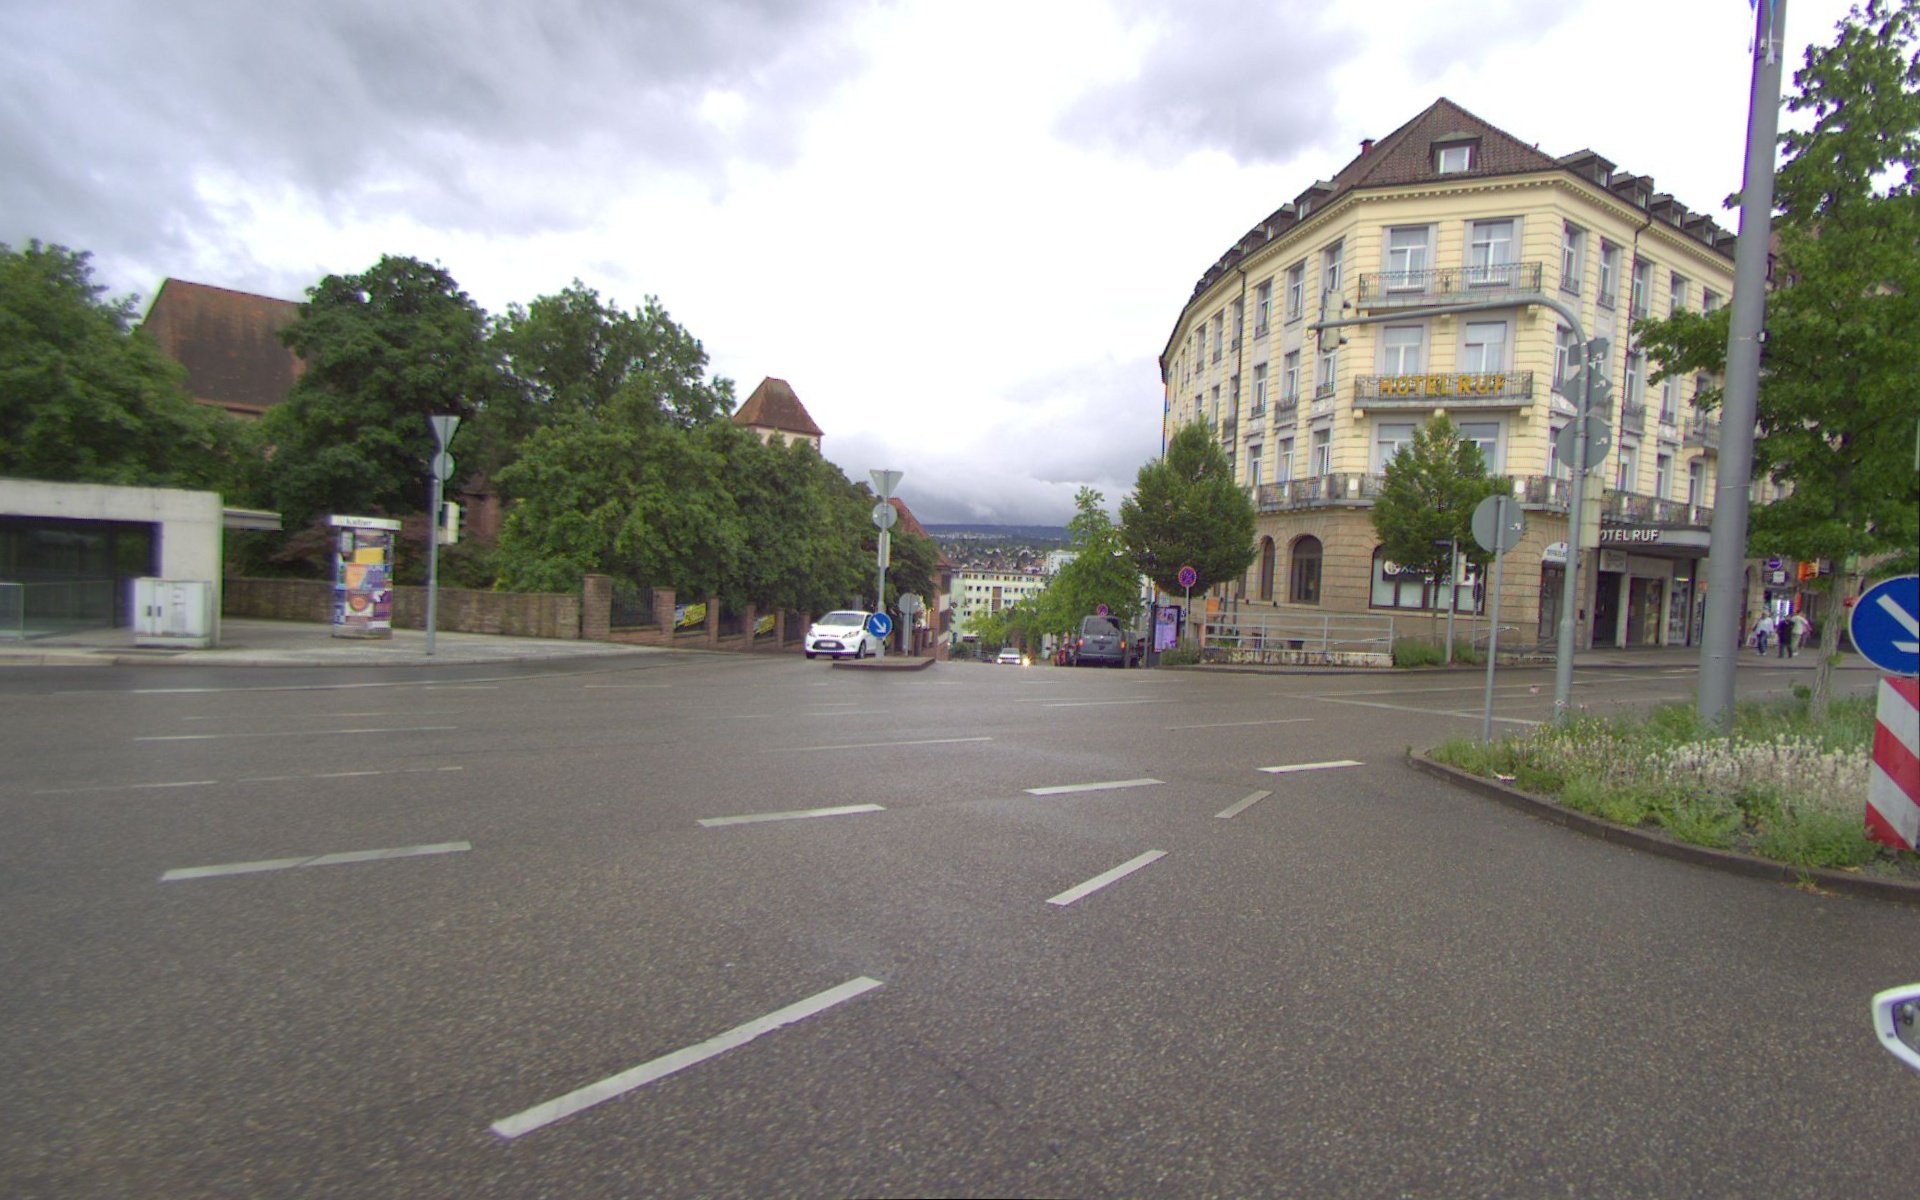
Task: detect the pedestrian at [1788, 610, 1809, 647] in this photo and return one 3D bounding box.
[{"bbox_3d":[39.000,1.314,46.732,0.532,1.686,0.661,2,-1,-41],"label":"pedestrian"}]

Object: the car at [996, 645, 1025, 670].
[{"bbox_3d":[3.948,4.431,77.924,1.959,1.706,4.002,1,-1,6],"label":"car"}]

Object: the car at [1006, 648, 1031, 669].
[{"bbox_3d":[5.282,5.229,90.491,1.959,1.706,4.002,1,-1,6],"label":"car"}]

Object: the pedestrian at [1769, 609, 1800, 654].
[{"bbox_3d":[31.141,1.191,37.944,0.798,1.686,0.677,2,-1,-33],"label":"pedestrian"}]

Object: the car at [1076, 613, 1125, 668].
[{"bbox_3d":[5.024,1.390,36.113,1.602,1.782,4.002,1,0,7],"label":"car"}]

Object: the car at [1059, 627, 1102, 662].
[{"bbox_3d":[5.711,2.090,47.885,1.735,1.498,4.002,1,-1,3],"label":"car"}]

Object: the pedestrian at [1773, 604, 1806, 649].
[{"bbox_3d":[33.948,1.092,41.109,0.742,1.836,0.874,2,-2,-33],"label":"pedestrian"}]

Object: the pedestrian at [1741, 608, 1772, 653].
[{"bbox_3d":[30.666,1.183,38.682,0.797,1.686,0.678,2,-1,-30],"label":"pedestrian"}]

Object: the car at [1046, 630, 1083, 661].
[{"bbox_3d":[5.604,2.438,54.093,1.735,1.498,4.012,1,-1,3],"label":"car"}]

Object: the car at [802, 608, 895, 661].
[{"bbox_3d":[-3.220,1.004,29.853,1.602,1.416,4.003,1,-1,11],"label":"car"}]
